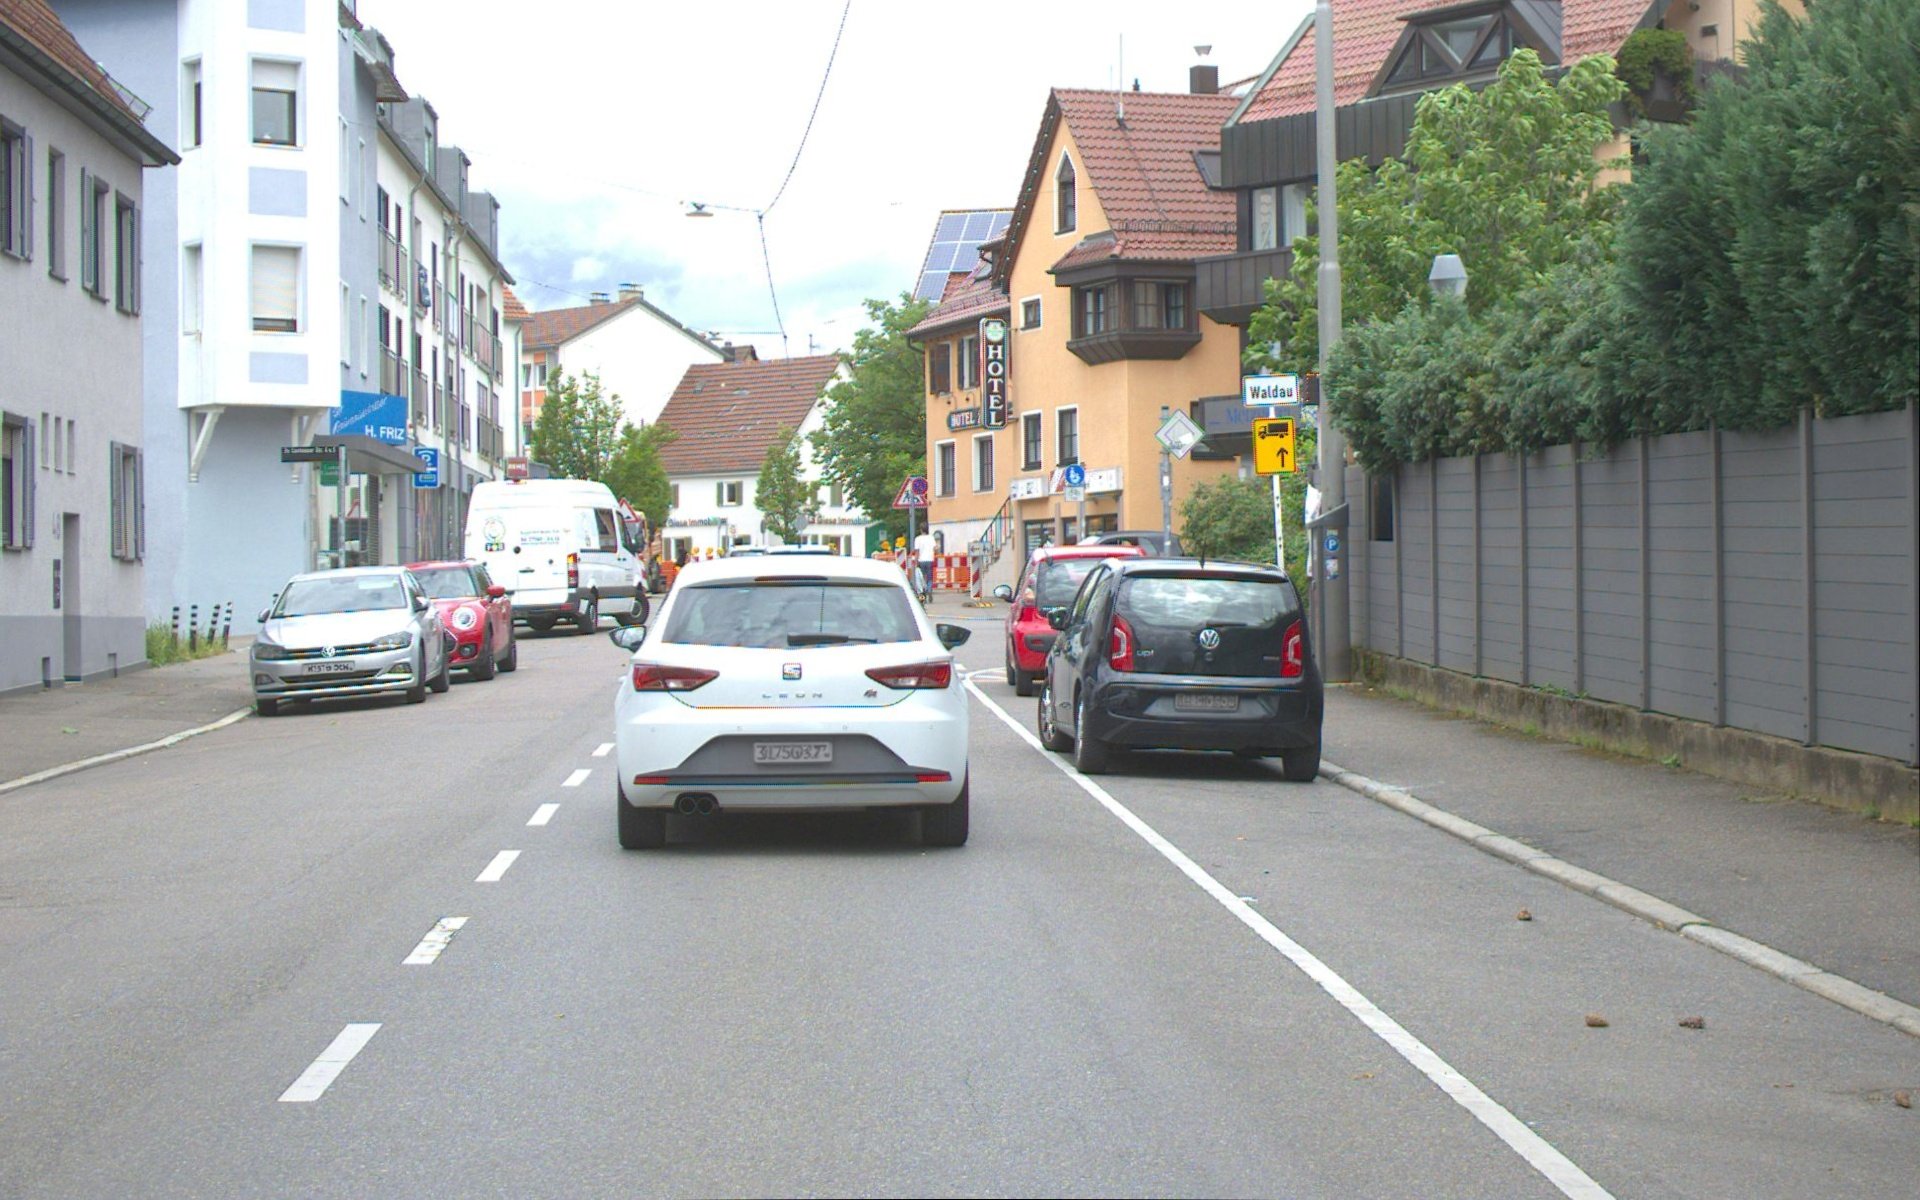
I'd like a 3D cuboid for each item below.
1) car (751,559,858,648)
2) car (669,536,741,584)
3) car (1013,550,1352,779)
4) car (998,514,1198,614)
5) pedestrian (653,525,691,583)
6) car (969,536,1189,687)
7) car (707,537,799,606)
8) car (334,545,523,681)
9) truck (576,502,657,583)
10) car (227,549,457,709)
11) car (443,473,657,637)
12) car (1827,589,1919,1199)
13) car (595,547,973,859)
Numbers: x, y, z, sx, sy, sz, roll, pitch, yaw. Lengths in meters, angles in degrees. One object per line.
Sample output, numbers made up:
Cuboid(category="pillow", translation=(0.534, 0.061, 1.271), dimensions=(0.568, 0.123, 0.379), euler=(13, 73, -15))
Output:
Cuboid(category="car", translation=(-2.666, 0.038, 59.043), dimensions=(1.758, 1.447, 4.000), euler=(-1, 1, -2))
Cuboid(category="car", translation=(-9.166, -1.466, 123.863), dimensions=(1.795, 1.696, 3.999), euler=(0, 1, 8))
Cuboid(category="car", translation=(1.470, 0.384, 24.164), dimensions=(1.758, 1.447, 4.001), euler=(-1, 1, -5))
Cuboid(category="car", translation=(2.178, -0.576, 54.615), dimensions=(2.807, 1.507, 1.709), euler=(0, 2, -13))
Cuboid(category="pedestrian", translation=(-9.910, -1.587, 118.239), dimensions=(1.228, 2.007, 1.176), euler=(0, 1, -2))
Cuboid(category="car", translation=(1.165, 0.084, 35.447), dimensions=(1.758, 1.447, 4.001), euler=(-1, 1, -5))
Cuboid(category="car", translation=(-4.586, -0.635, 75.668), dimensions=(1.758, 1.447, 4.001), euler=(-1, 1, -7))
Cuboid(category="car", translation=(-6.450, 0.114, 42.092), dimensions=(1.799, 1.474, 4.051), euler=(-3, 1, -3))
Cuboid(category="truck", translation=(-10.708, -1.822, 107.515), dimensions=(2.152, 2.451, 5.395), euler=(0, 1, -2))
Cuboid(category="car", translation=(-6.464, 0.258, 36.338), dimensions=(1.799, 1.474, 4.051), euler=(-3, 1, -3))
Cuboid(category="car", translation=(-6.997, -0.803, 59.311), dimensions=(2.153, 2.677, 5.543), euler=(1, 1, 10))
Cuboid(category="car", translation=(2.617, 0.754, 4.501), dimensions=(1.758, 1.447, 4.001), euler=(1, 1, -3))
Cuboid(category="car", translation=(-0.903, 0.452, 18.182), dimensions=(1.758, 1.447, 4.000), euler=(-1, 1, -2))
